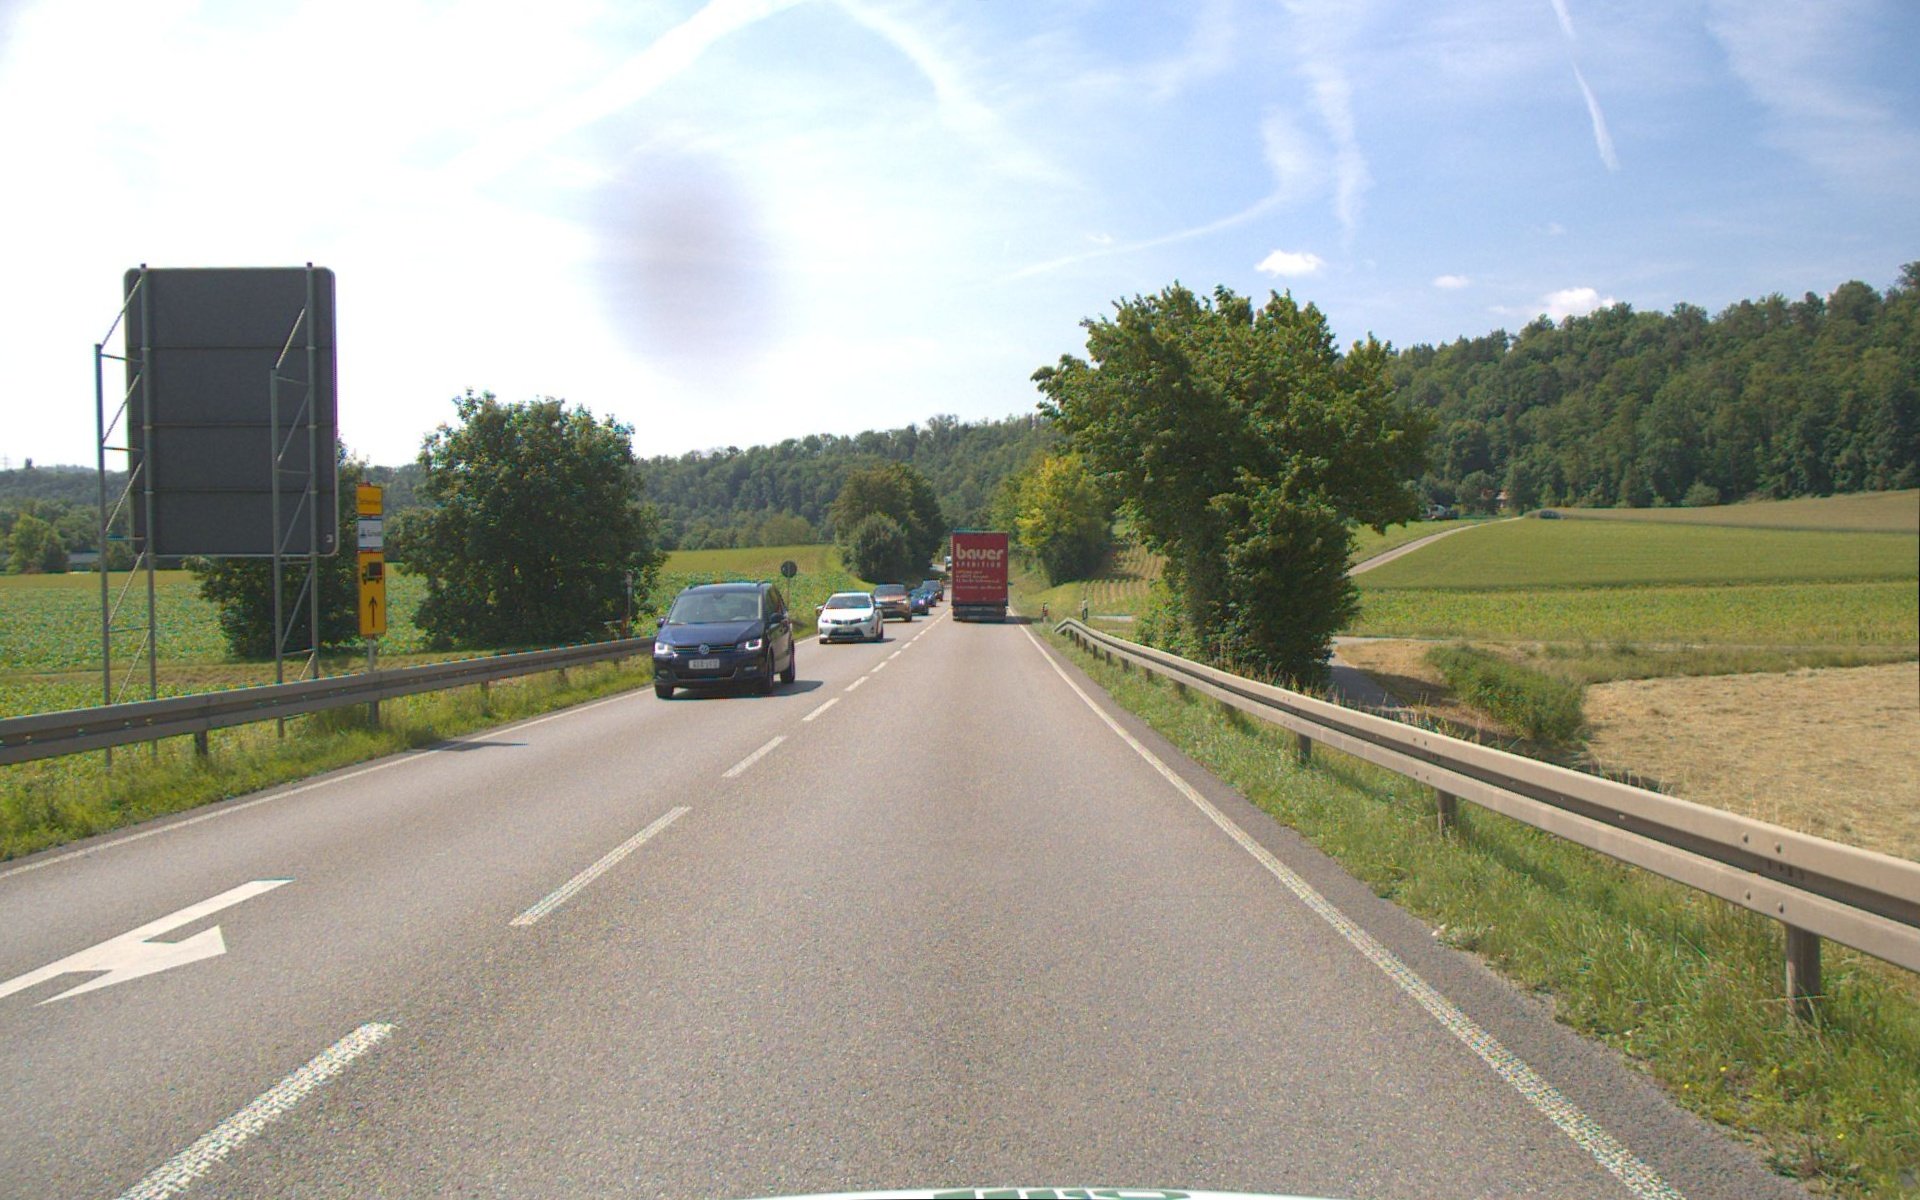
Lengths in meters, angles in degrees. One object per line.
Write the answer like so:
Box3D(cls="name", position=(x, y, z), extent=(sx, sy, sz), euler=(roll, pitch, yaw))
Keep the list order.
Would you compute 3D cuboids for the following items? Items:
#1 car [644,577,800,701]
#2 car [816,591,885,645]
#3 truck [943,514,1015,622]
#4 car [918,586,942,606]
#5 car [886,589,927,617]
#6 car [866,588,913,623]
Box3D(cls="car", position=(-3.711, 0.556, 26.506), extent=(1.791, 1.752, 4.363), euler=(-2, 0, 0))
Box3D(cls="car", position=(-3.242, 0.510, 49.581), extent=(1.695, 1.459, 3.916), euler=(-3, 0, 1))
Box3D(cls="truck", position=(0.872, -1.485, 78.970), extent=(3.107, 4.706, 13.544), euler=(0, 1, 0))
Box3D(cls="car", position=(-2.407, -0.362, 131.846), extent=(1.771, 1.512, 4.000), euler=(-1, 1, 0))
Box3D(cls="car", position=(-2.814, 0.132, 87.939), extent=(1.952, 1.365, 4.001), euler=(-1, 1, 1))
Box3D(cls="car", position=(-3.148, 0.225, 74.481), extent=(1.873, 1.500, 3.874), euler=(-1, 1, 1))
